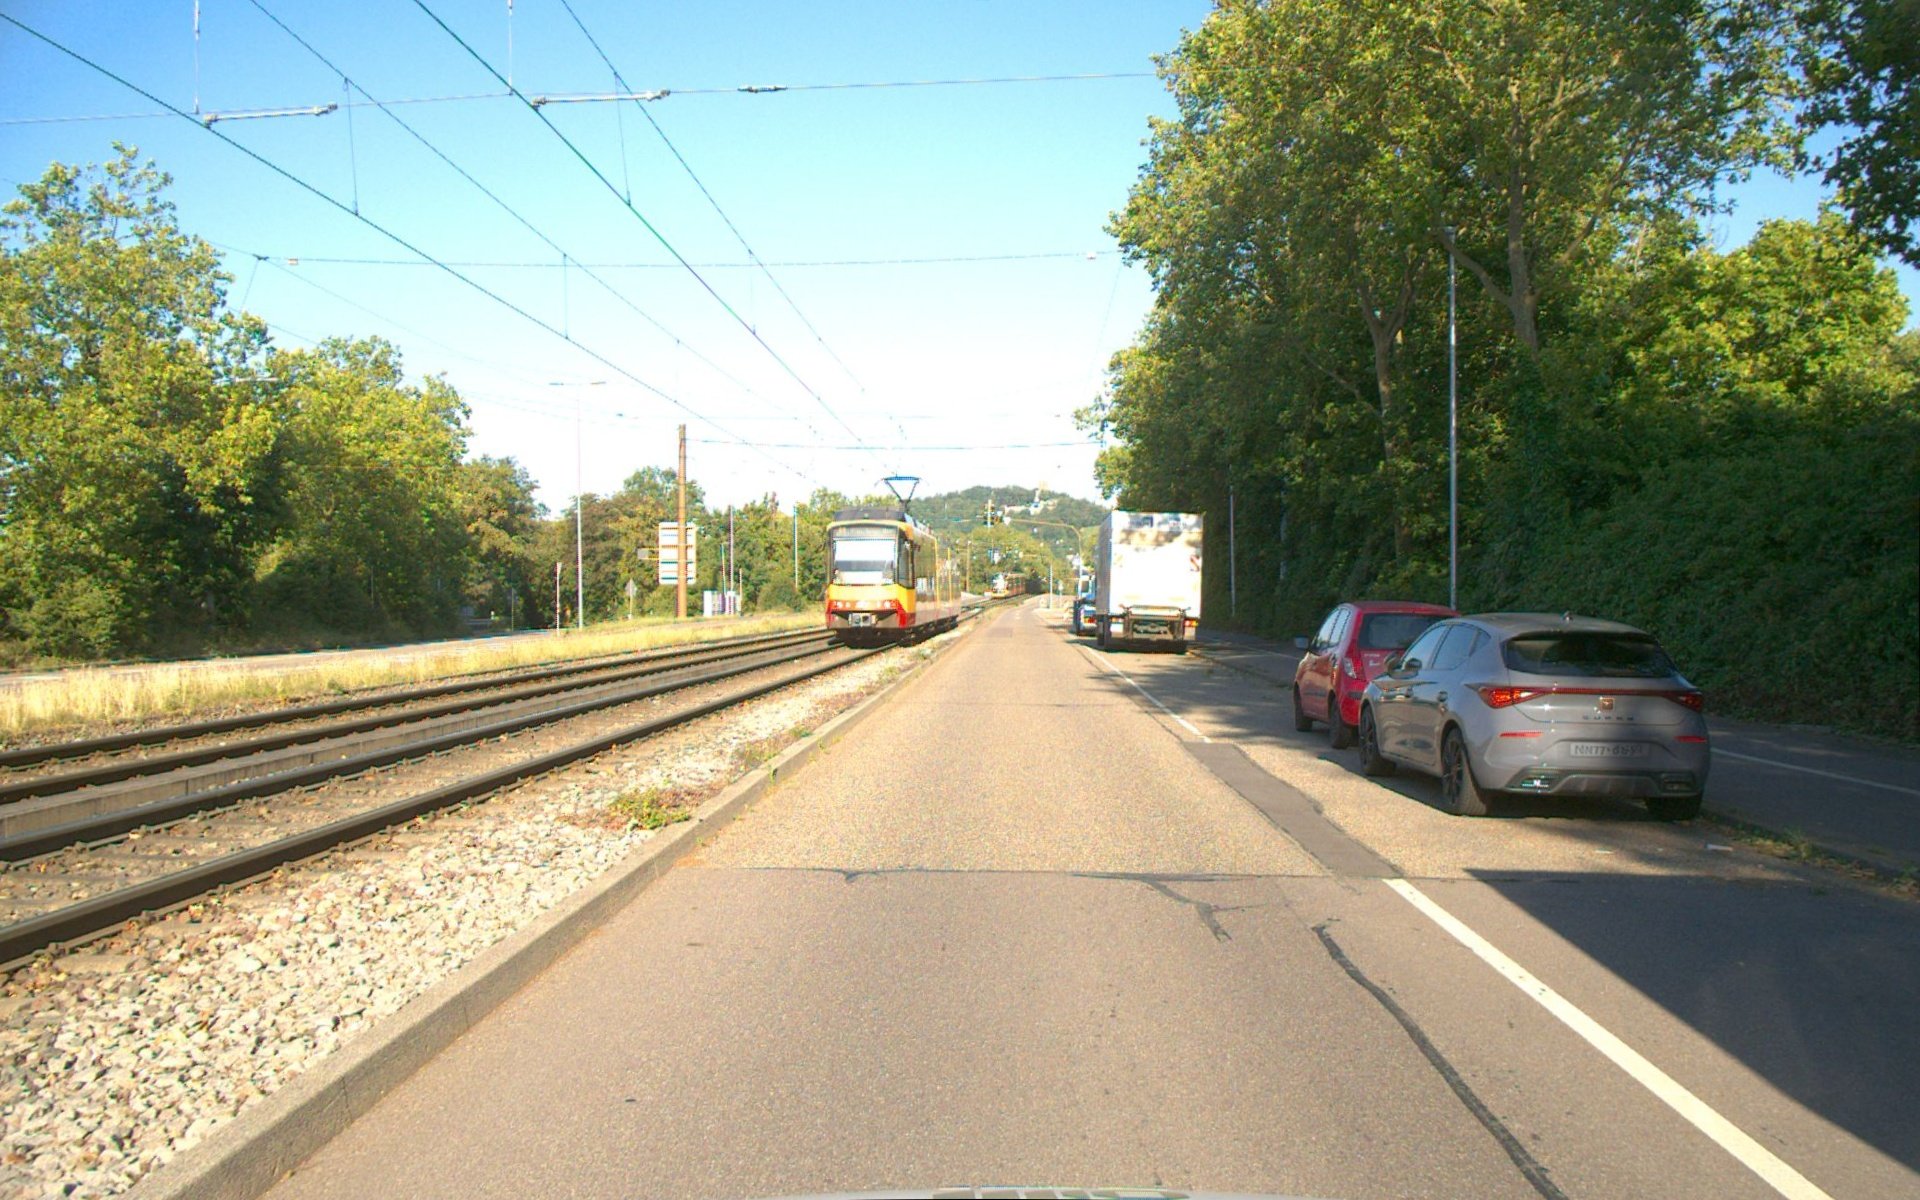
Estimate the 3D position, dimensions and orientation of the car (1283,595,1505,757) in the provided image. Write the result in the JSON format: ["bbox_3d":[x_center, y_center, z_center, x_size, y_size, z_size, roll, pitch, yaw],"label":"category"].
[{"bbox_3d":[4.752,0.764,18.572,1.606,1.563,3.641,3,0,2],"label":"car"}]

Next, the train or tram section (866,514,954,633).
[{"bbox_3d":[-1.792,-0.957,63.358,2.638,4.160,9.913,-1,0,2],"label":"train or tram section"}]

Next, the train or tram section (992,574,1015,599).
[{"bbox_3d":[6.388,-1.954,243.076,2.588,3.629,10.839,0,0,6],"label":"train or tram section"}]

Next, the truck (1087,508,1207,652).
[{"bbox_3d":[5.470,-0.562,50.043,2.685,3.849,10.091,2,0,2],"label":"truck"}]

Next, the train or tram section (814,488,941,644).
[{"bbox_3d":[-2.308,-0.935,51.578,2.665,4.162,13.619,-1,0,2],"label":"train or tram section"}]

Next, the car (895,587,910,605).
[{"bbox_3d":[-6.938,-0.458,198.856,1.689,2.049,3.999,1,-1,-1],"label":"car"}]

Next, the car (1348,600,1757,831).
[{"bbox_3d":[4.452,0.774,13.140,1.771,1.482,4.166,2,0,1],"label":"car"}]

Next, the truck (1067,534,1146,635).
[{"bbox_3d":[6.026,-0.621,69.266,2.661,3.849,9.763,2,0,2],"label":"truck"}]

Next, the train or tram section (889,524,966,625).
[{"bbox_3d":[-1.319,-1.068,74.728,2.663,4.160,12.817,-1,0,2],"label":"train or tram section"}]
